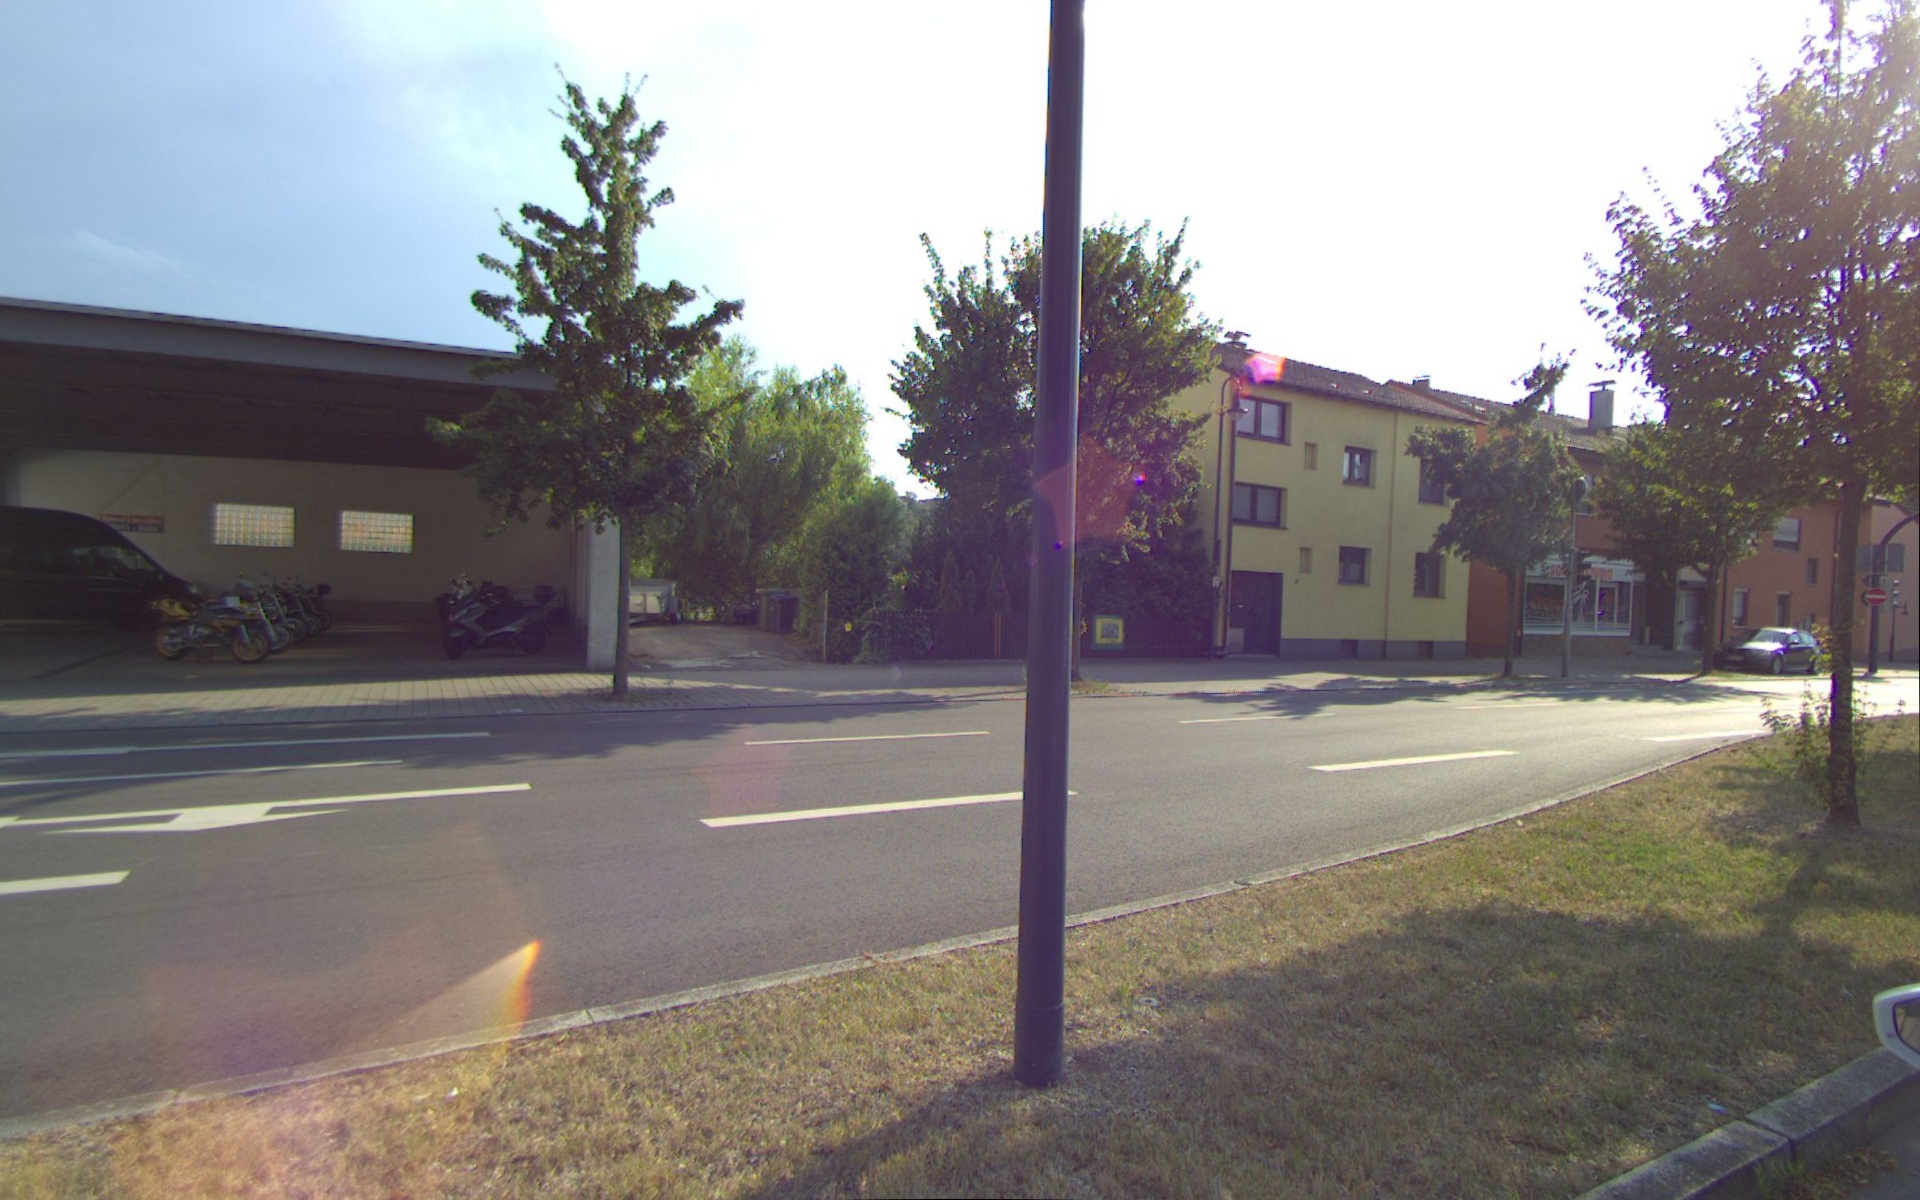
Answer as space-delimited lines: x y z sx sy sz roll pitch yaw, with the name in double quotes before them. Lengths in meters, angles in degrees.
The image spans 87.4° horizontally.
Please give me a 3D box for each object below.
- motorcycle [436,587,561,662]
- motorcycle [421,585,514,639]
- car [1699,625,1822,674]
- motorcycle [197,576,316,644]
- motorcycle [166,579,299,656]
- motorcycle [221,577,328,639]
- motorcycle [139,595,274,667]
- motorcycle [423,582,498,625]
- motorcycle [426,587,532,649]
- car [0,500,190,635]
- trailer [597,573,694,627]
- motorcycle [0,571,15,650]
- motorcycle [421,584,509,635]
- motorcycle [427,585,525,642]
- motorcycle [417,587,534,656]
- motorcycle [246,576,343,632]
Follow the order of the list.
"motorcycle" -8.631 0.426 18.885 0.621 1.314 2.113 1 2 36
"motorcycle" -12.661 0.286 25.908 0.621 1.314 2.113 1 2 36
"car" 25.956 1.594 32.545 3.953 1.319 1.728 1 4 -30
"motorcycle" -14.765 0.200 21.093 2.219 1.354 0.631 1 0 10
"motorcycle" -13.644 0.314 18.850 2.219 1.354 0.631 1 0 10
"motorcycle" -15.897 0.176 23.302 2.219 1.354 0.631 1 0 10
"motorcycle" -12.509 0.499 16.685 1.993 1.101 0.631 1 0 12
"motorcycle" -15.972 0.094 32.165 0.621 1.314 2.113 1 2 36
"motorcycle" -10.755 0.379 22.525 0.621 1.314 2.113 1 2 36
"car" -20.465 -0.688 22.079 1.962 2.789 5.280 1 0 26
"trailer" -8.230 -0.012 26.606 1.698 1.280 3.995 1 0 -7
"motorcycle" -17.299 0.164 16.712 0.619 1.380 2.225 1 0 24
"motorcycle" -13.526 0.234 27.506 0.621 1.314 2.113 1 2 36
"motorcycle" -11.779 0.306 24.526 0.621 1.314 2.113 1 2 36
"motorcycle" -9.825 0.397 20.448 0.621 1.314 2.113 1 2 36
"motorcycle" -16.922 0.096 25.560 2.219 1.354 0.631 1 0 10
